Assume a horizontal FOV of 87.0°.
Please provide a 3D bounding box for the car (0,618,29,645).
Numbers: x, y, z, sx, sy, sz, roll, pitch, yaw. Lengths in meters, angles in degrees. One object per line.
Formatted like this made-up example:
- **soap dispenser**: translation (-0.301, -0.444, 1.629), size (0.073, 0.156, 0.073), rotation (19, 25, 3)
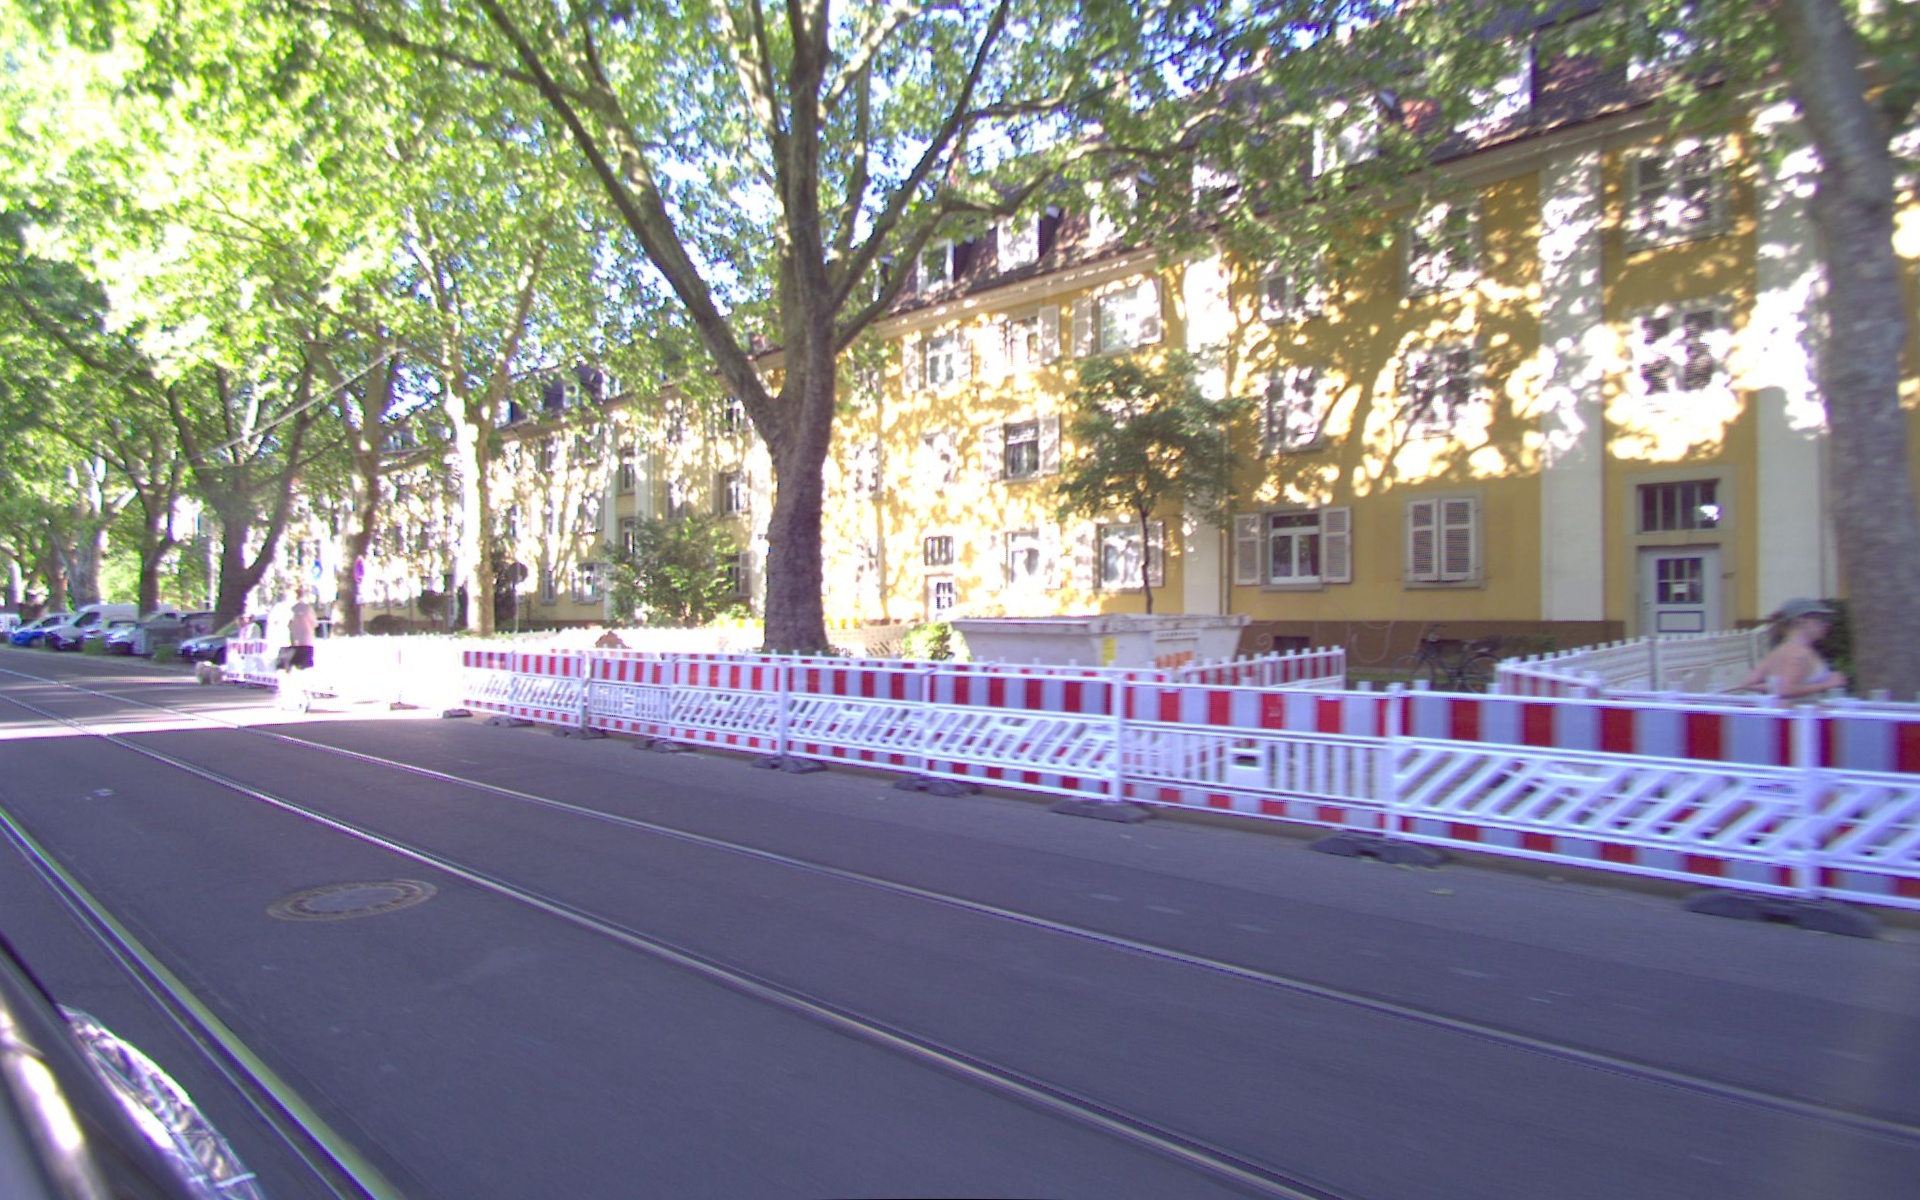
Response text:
- **car**: translation (-88.477, 2.882, 92.339), size (2.026, 2.416, 4.956), rotation (-2, -2, 39)

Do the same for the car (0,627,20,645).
- **car**: translation (-83.546, 3.086, 86.791), size (1.923, 1.527, 4.118), rotation (-2, -2, 39)

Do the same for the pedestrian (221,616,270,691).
- **pedestrian**: translation (-17.389, 1.277, 24.643), size (0.796, 1.758, 0.813), rotation (-1, 0, 41)

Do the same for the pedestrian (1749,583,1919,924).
- **pedestrian**: translation (4.766, 0.756, 5.437), size (0.778, 1.682, 0.709), rotation (-1, -1, 41)

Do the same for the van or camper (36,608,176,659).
- **van or camper**: translation (-45.005, 1.689, 53.413), size (2.443, 2.535, 5.334), rotation (-2, -1, 40)

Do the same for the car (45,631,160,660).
- **car**: translation (-43.411, 2.253, 51.294), size (1.752, 1.409, 4.219), rotation (-2, -2, 41)

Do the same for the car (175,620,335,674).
- **car**: translation (-23.655, 1.555, 34.042), size (4.183, 1.701, 1.935), rotation (2, -2, -42)

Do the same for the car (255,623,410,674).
- **car**: translation (-19.864, 1.507, 32.142), size (1.861, 1.509, 3.807), rotation (-2, -2, 41)

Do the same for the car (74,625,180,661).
- **car**: translation (-41.373, 2.115, 50.313), size (1.861, 1.675, 3.807), rotation (-2, -2, 41)

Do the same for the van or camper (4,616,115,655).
- **van or camper**: translation (-54.619, 2.106, 61.463), size (2.118, 2.206, 4.771), rotation (-2, -1, 40)

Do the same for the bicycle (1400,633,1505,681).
- **bicycle**: translation (8.957, 1.025, 18.446), size (1.641, 0.825, 0.501), rotation (-1, -2, 38)

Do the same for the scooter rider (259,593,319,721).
- **scooter rider**: translation (-10.671, 0.879, 16.094), size (0.624, 1.972, 0.642), rotation (-1, -1, 41)

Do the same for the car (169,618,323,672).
- **car**: translation (-25.179, 1.542, 35.794), size (1.738, 1.771, 4.158), rotation (-2, -1, 39)

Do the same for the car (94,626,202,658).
- **car**: translation (-39.412, 2.013, 49.186), size (1.861, 1.509, 3.807), rotation (-2, -2, 41)

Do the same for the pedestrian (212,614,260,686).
- **pedestrian**: translation (-18.036, 1.223, 25.209), size (0.796, 1.758, 0.813), rotation (-1, 0, 41)

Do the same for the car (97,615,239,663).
- **car**: translation (-34.879, 1.672, 44.693), size (1.959, 1.960, 4.613), rotation (-1, -1, 38)

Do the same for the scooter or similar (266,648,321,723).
- **scooter or similar**: translation (-10.607, 1.338, 16.091), size (1.338, 1.091, 0.403), rotation (-1, 0, 42)

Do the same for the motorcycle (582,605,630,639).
- **motorcycle**: translation (-13.497, 0.839, 38.662), size (0.523, 1.250, 1.691), rotation (-2, -2, 42)
